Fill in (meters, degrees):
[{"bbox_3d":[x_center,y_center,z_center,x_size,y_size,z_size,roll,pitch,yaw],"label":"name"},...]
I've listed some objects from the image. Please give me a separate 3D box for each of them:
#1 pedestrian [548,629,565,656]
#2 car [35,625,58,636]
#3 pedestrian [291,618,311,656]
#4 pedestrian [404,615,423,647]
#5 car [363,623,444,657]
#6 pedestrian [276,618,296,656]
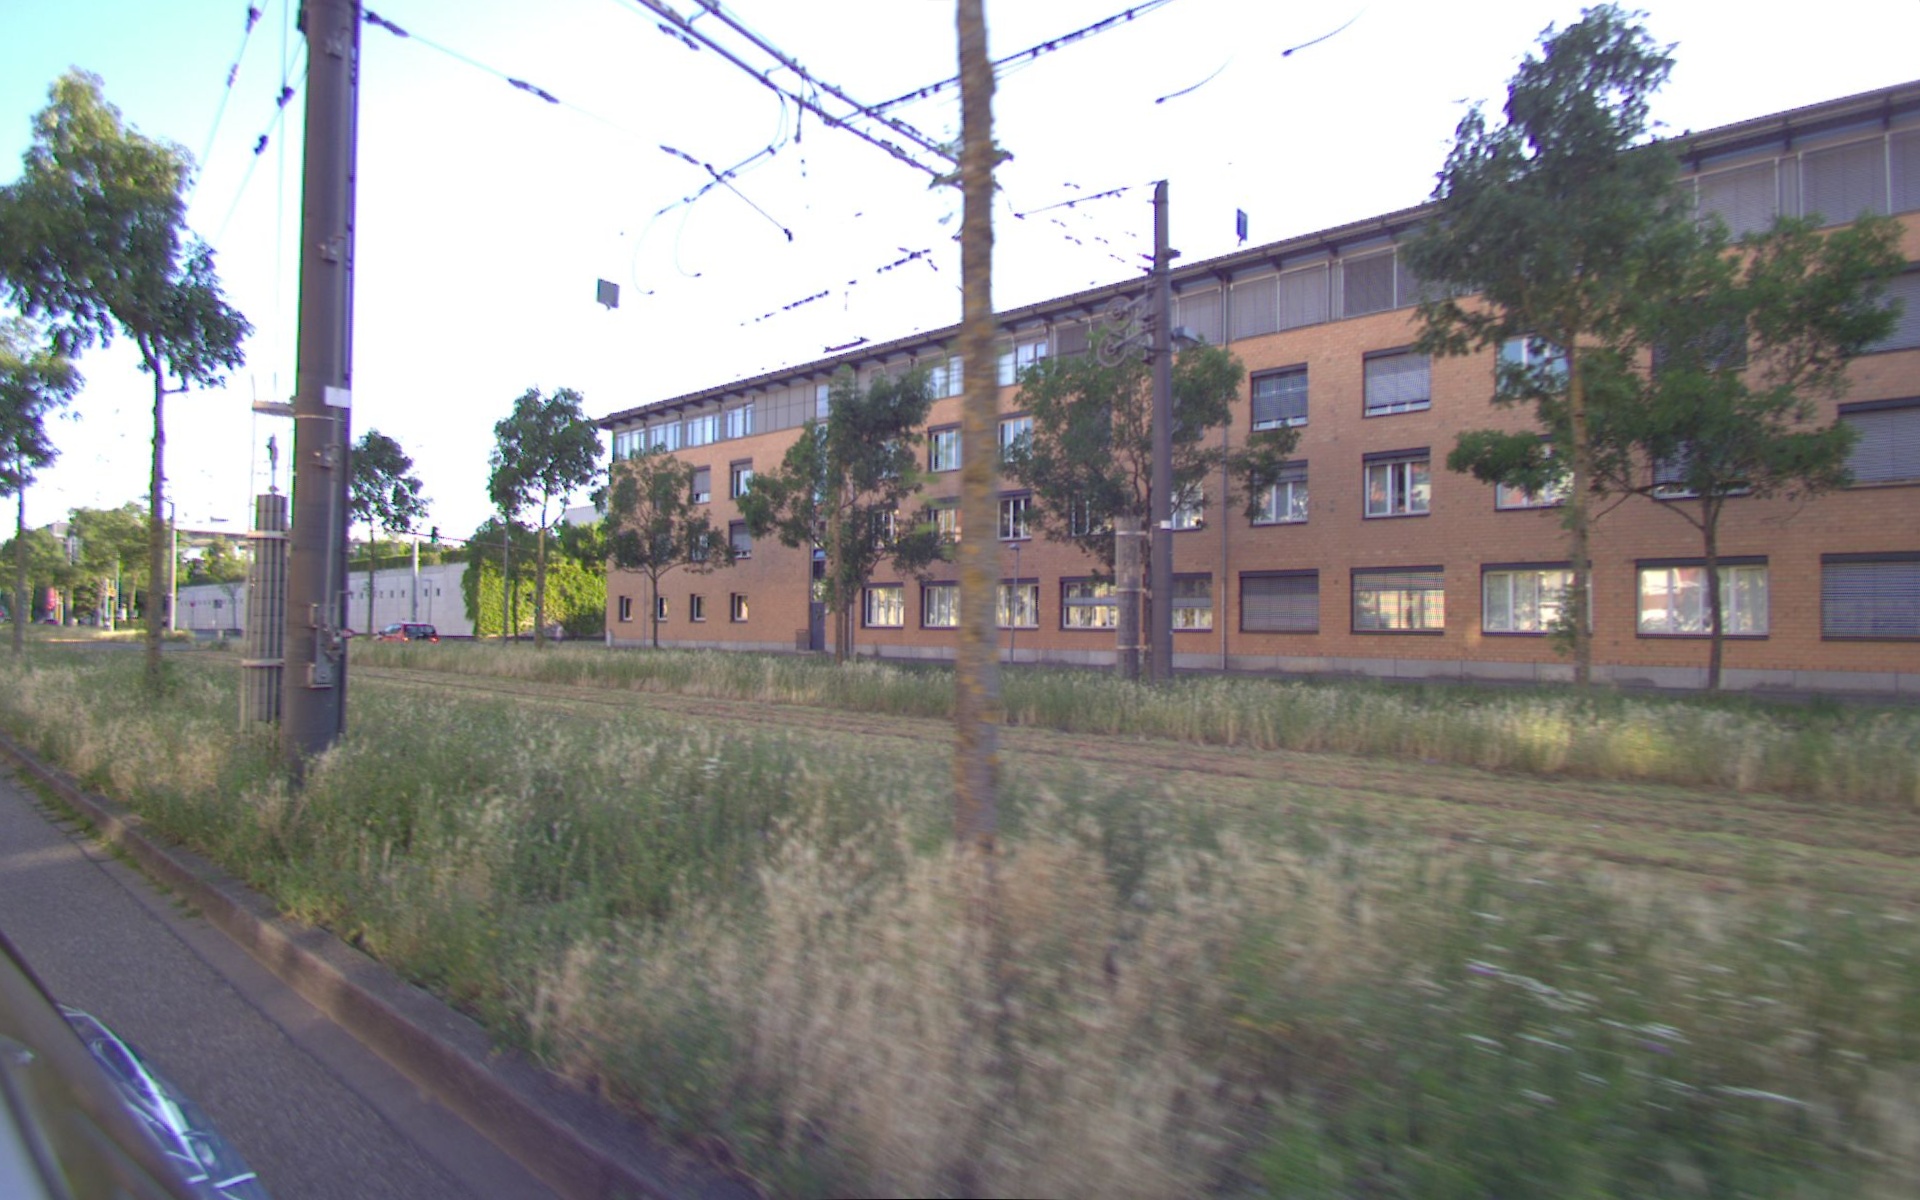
[{"bbox_3d":[-21.064,2.222,52.839,0.574,1.378,0.580,-1,-2,35],"label":"pedestrian"},{"bbox_3d":[-117.687,3.926,130.386,3.998,1.386,1.771,-1,-2,41],"label":"car"},{"bbox_3d":[-29.305,1.649,45.019,0.544,1.697,0.512,0,-2,11],"label":"pedestrian"},{"bbox_3d":[-35.728,2.013,66.149,0.862,2.029,0.724,-1,-2,23],"label":"pedestrian"},{"bbox_3d":[-23.703,1.676,43.069,3.998,1.386,1.771,-1,-2,41],"label":"car"},{"bbox_3d":[-30.224,1.641,45.390,0.544,1.697,0.512,-1,-2,11],"label":"pedestrian"}]
